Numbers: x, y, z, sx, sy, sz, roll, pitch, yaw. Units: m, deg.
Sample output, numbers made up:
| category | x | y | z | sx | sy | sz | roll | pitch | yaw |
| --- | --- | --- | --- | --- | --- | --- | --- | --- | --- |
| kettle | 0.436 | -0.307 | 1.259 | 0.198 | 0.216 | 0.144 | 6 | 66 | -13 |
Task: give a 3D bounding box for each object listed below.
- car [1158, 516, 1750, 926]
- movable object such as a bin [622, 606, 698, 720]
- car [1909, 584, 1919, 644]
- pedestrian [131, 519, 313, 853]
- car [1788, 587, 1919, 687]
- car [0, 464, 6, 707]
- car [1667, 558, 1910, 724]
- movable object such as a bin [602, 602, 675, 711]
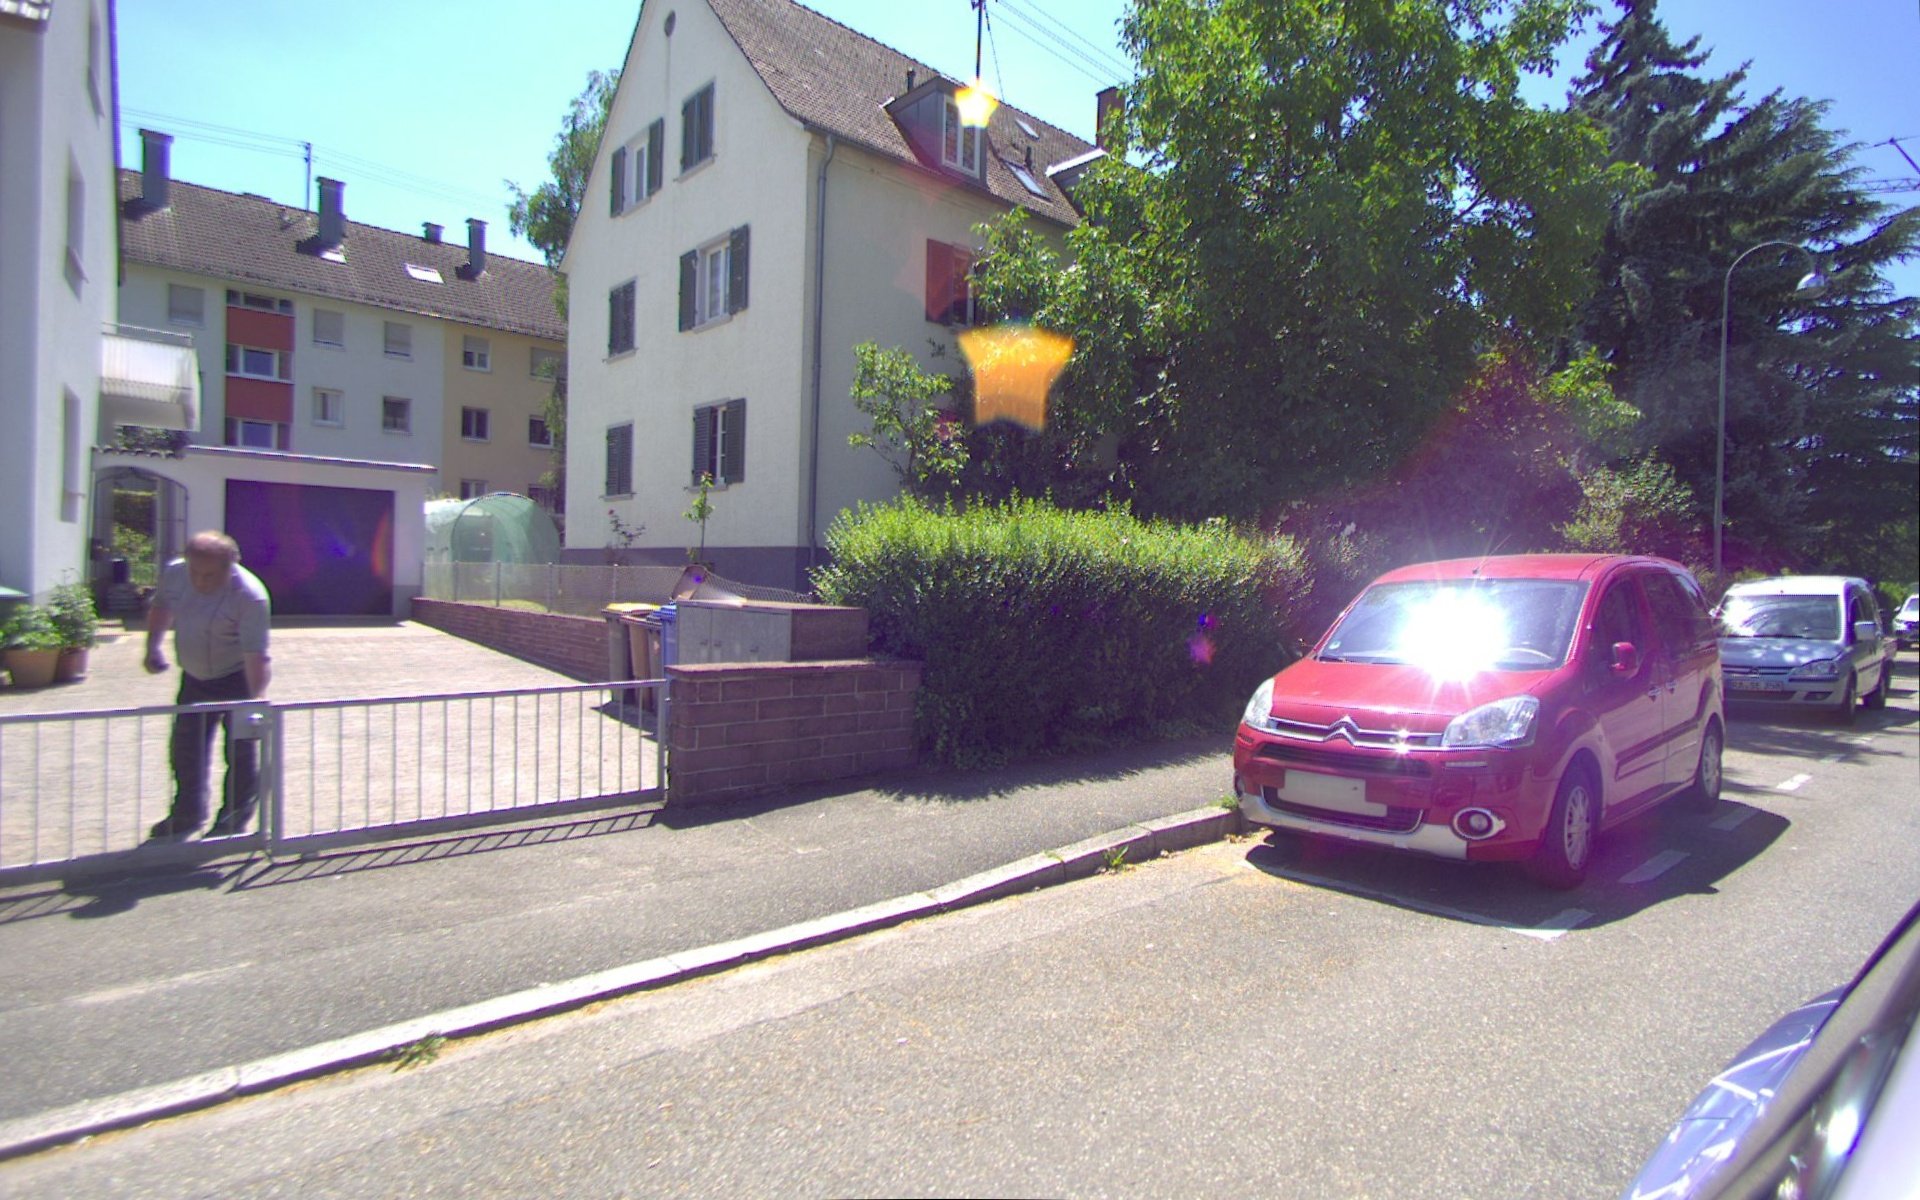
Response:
| category | x | y | z | sx | sy | sz | roll | pitch | yaw |
| --- | --- | --- | --- | --- | --- | --- | --- | --- | --- |
| car | 3.367 | 0.502 | 6.478 | 4.316 | 1.750 | 1.905 | -1 | 0 | -42 |
| movable object such as a bin | -2.666 | 0.542 | 8.985 | 0.492 | 0.937 | 0.465 | 0 | 3 | -40 |
| car | 28.723 | 0.386 | 29.134 | 4.527 | 1.653 | 1.773 | 0 | -1 | -44 |
| pedestrian | -3.775 | 0.374 | 5.164 | 0.696 | 1.535 | 0.790 | 0 | 3 | -40 |
| car | 14.783 | 0.559 | 16.694 | 2.660 | 1.514 | 1.263 | 0 | 0 | -40 |
| car | -8.812 | -0.094 | 5.983 | 4.312 | 1.879 | 1.753 | 2 | 3 | -32 |
| car | 10.872 | 0.437 | 13.156 | 4.464 | 1.805 | 1.749 | 0 | 0 | -42 |
| movable object such as a bin | -2.981 | 0.506 | 9.378 | 0.492 | 0.937 | 0.465 | 0 | 3 | -40 |
